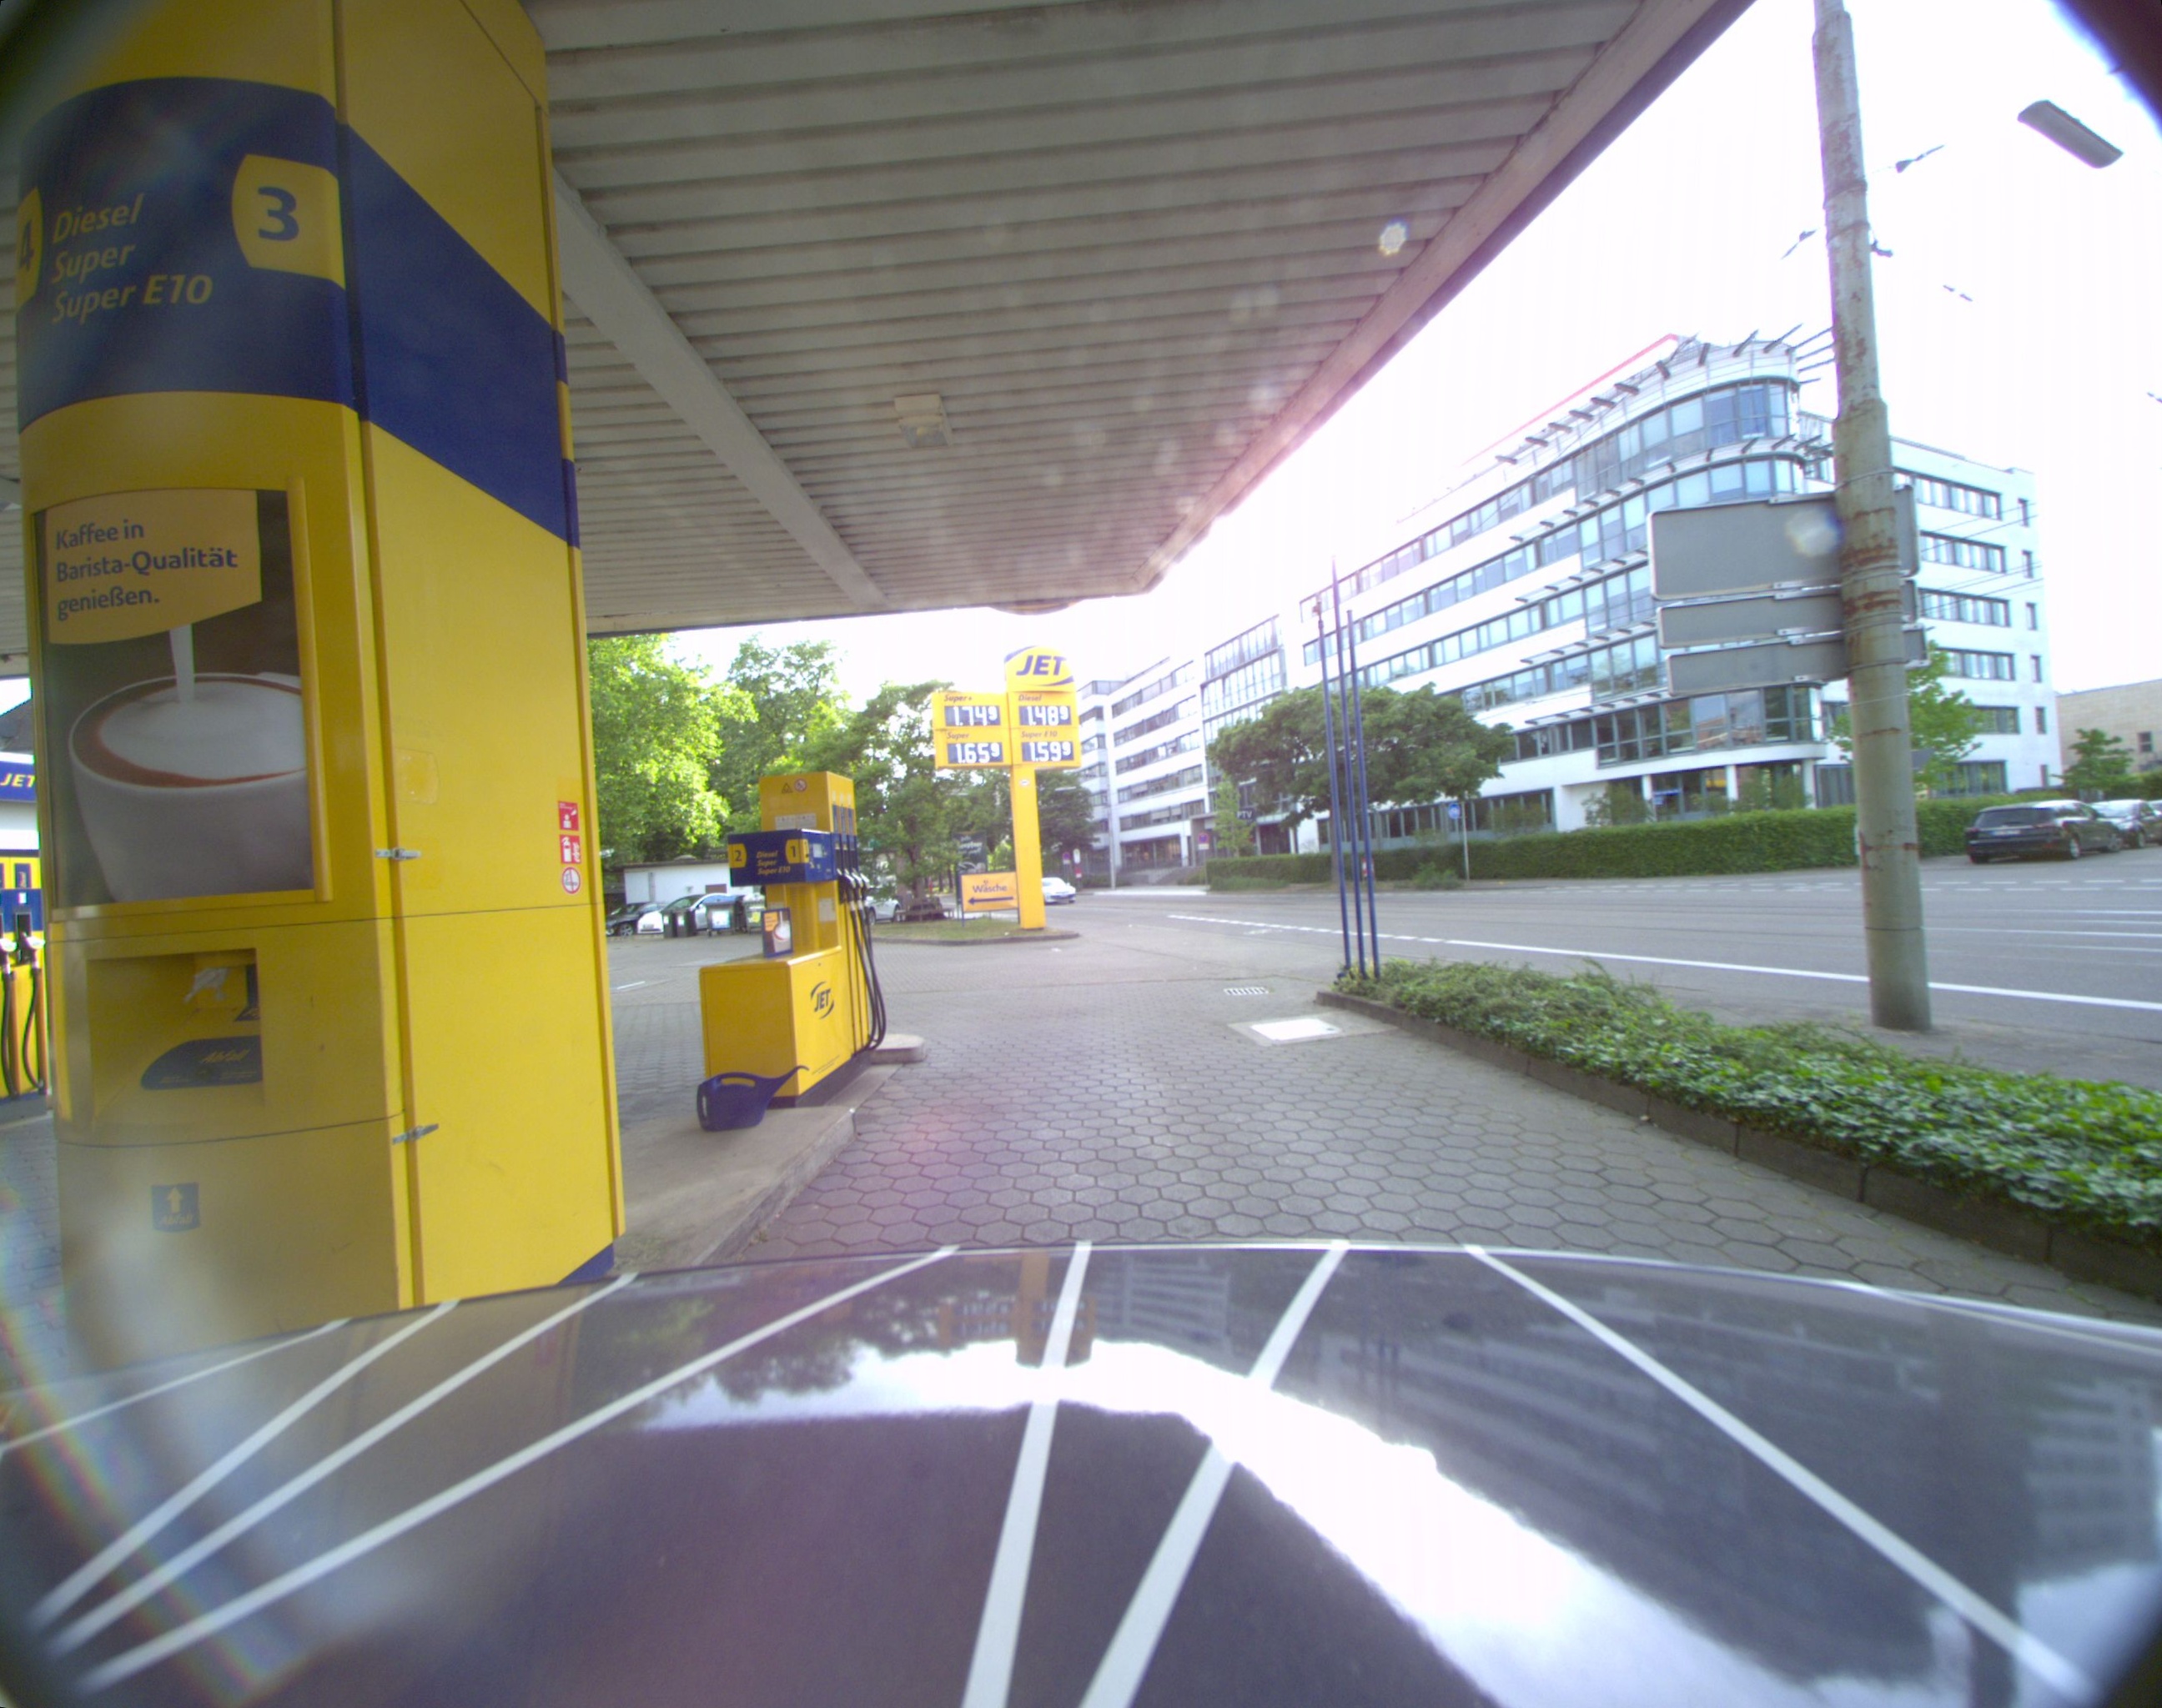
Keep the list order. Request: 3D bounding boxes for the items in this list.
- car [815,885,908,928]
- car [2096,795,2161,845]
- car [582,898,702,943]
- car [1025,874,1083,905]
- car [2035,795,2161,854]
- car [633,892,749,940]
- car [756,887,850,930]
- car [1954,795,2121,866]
[{"bbox_3d":[-8.657,2.048,30.386,1.823,1.449,4.200,-4,-2,10],"label":"car"},{"bbox_3d":[37.104,-1.252,26.025,4.201,1.568,1.820,-4,-1,-24],"label":"car"},{"bbox_3d":[-17.535,2.631,30.616,1.823,1.426,4.200,-4,-2,10],"label":"car"},{"bbox_3d":[-1.625,1.998,43.804,1.865,1.500,4.820,-5,0,-20],"label":"car"},{"bbox_3d":[32.575,-0.958,24.077,4.201,1.568,1.820,-4,-1,-24],"label":"car"},{"bbox_3d":[-15.390,2.413,30.261,1.823,1.575,4.200,-4,-2,10],"label":"car"},{"bbox_3d":[-11.747,2.266,32.473,1.823,1.575,4.200,-4,-2,10],"label":"car"},{"bbox_3d":[27.417,-0.669,21.767,4.397,1.678,1.820,-4,-1,-24],"label":"car"}]
